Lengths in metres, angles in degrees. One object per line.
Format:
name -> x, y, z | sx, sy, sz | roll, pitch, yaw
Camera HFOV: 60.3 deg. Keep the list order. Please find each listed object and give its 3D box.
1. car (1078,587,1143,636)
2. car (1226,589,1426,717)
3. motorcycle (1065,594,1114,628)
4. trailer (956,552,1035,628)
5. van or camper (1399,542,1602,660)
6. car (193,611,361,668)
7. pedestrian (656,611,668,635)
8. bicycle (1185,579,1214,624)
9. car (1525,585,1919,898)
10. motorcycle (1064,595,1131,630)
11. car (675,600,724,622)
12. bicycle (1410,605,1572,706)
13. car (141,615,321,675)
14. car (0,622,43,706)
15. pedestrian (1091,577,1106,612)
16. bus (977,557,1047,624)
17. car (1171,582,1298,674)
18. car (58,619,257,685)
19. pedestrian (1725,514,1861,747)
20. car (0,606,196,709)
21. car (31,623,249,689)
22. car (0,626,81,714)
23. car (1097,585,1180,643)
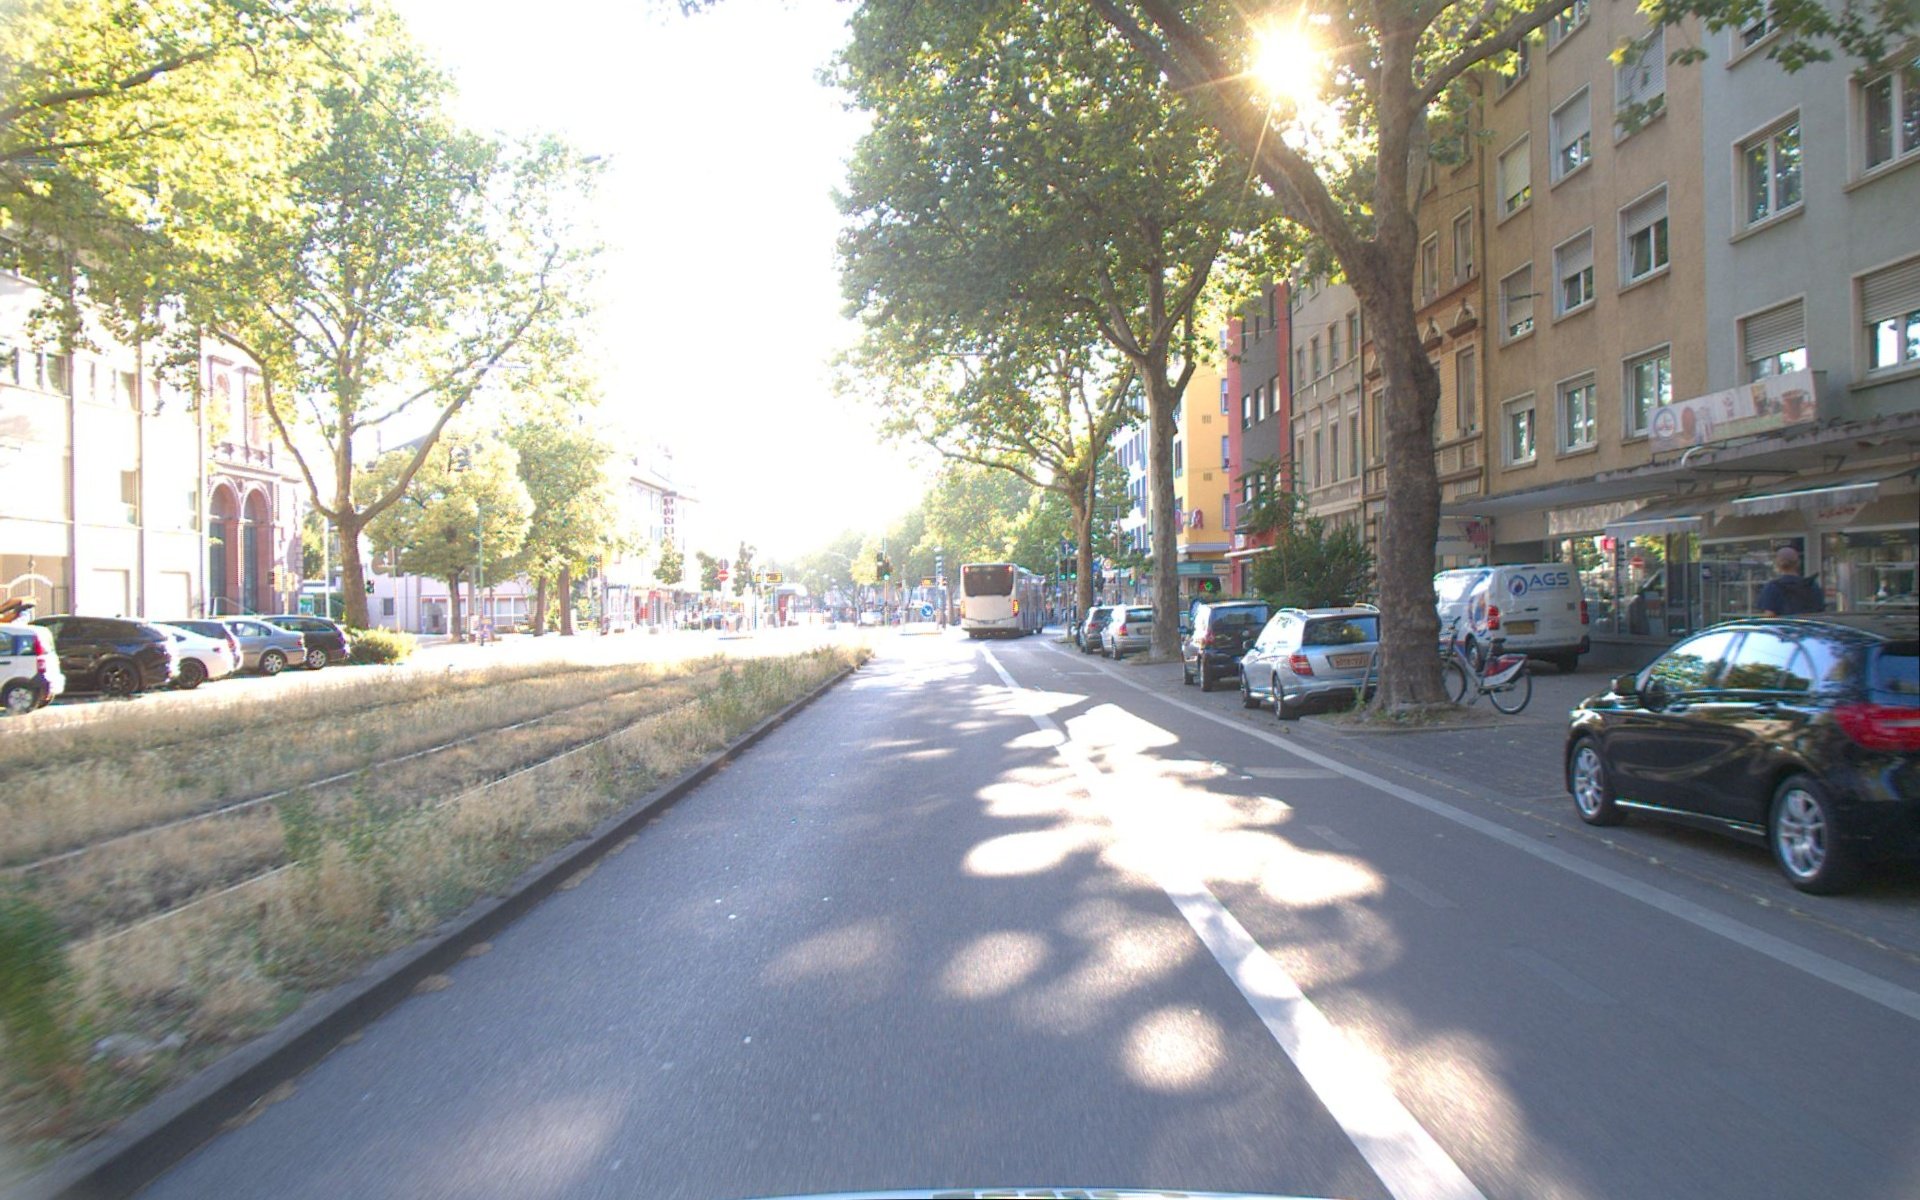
car -> 4.704, 0.331, 52.286 | 1.675, 1.421, 4.322 | -1, 1, 1
car -> 5.051, 0.659, 23.474 | 1.660, 1.569, 4.776 | -1, 1, -1
motorcycle -> 4.689, 0.396, 59.808 | 1.982, 1.172, 0.592 | -2, 1, -43
trailer -> 1.696, -0.422, 73.992 | 2.752, 3.165, 8.800 | 1, 0, 6
van or camper -> 9.987, -0.008, 31.050 | 1.902, 1.956, 5.390 | -2, 1, -1
car -> -18.980, 1.071, 46.079 | 3.968, 1.505, 1.789 | 1, 0, -43
pedestrian -> -26.253, 1.998, 145.775 | 0.693, 2.049, 0.949 | -2, 0, 7
bicycle -> 7.845, 0.043, 54.155 | 0.594, 1.451, 2.396 | 1, 0, 0
car -> 5.155, 0.678, 10.274 | 1.674, 1.439, 4.363 | -3, 0, -1
motorcycle -> 4.785, 0.429, 57.633 | 2.176, 1.081, 0.762 | -3, 1, -23
car -> -23.270, 0.935, 147.802 | 3.939, 1.847, 1.983 | -1, 0, -26
bicycle -> 6.484, 0.657, 20.318 | 0.758, 1.151, 2.069 | 1, 0, -21
car -> -18.908, 1.141, 42.964 | 3.965, 1.466, 1.696 | 1, 0, -42
car -> -19.244, 1.159, 30.380 | 3.929, 1.505, 1.766 | 1, 0, -21
pedestrian -> 7.174, -0.292, 85.755 | 0.666, 1.801, 0.687 | -2, 0, 1
bus -> 2.700, -0.458, 82.890 | 2.752, 3.156, 9.100 | 1, 0, 6
car -> 5.103, 0.476, 31.229 | 1.620, 1.572, 3.999 | -2, 1, -1
car -> -19.182, 1.199, 39.619 | 3.968, 1.466, 1.774 | 1, 0, -44
pedestrian -> 7.627, 0.267, 15.185 | 0.669, 2.049, 1.012 | -2, 0, -1
car -> -18.082, 1.170, 33.906 | 4.298, 1.817, 1.977 | -4, 0, -27
car -> -18.366, 1.225, 37.112 | 4.159, 1.356, 1.700 | 1, 0, -37
car -> -17.756, 1.230, 28.756 | 4.298, 1.474, 1.644 | 0, 0, -27
car -> 4.908, 0.357, 46.022 | 1.640, 1.477, 4.569 | -1, 0, -2
